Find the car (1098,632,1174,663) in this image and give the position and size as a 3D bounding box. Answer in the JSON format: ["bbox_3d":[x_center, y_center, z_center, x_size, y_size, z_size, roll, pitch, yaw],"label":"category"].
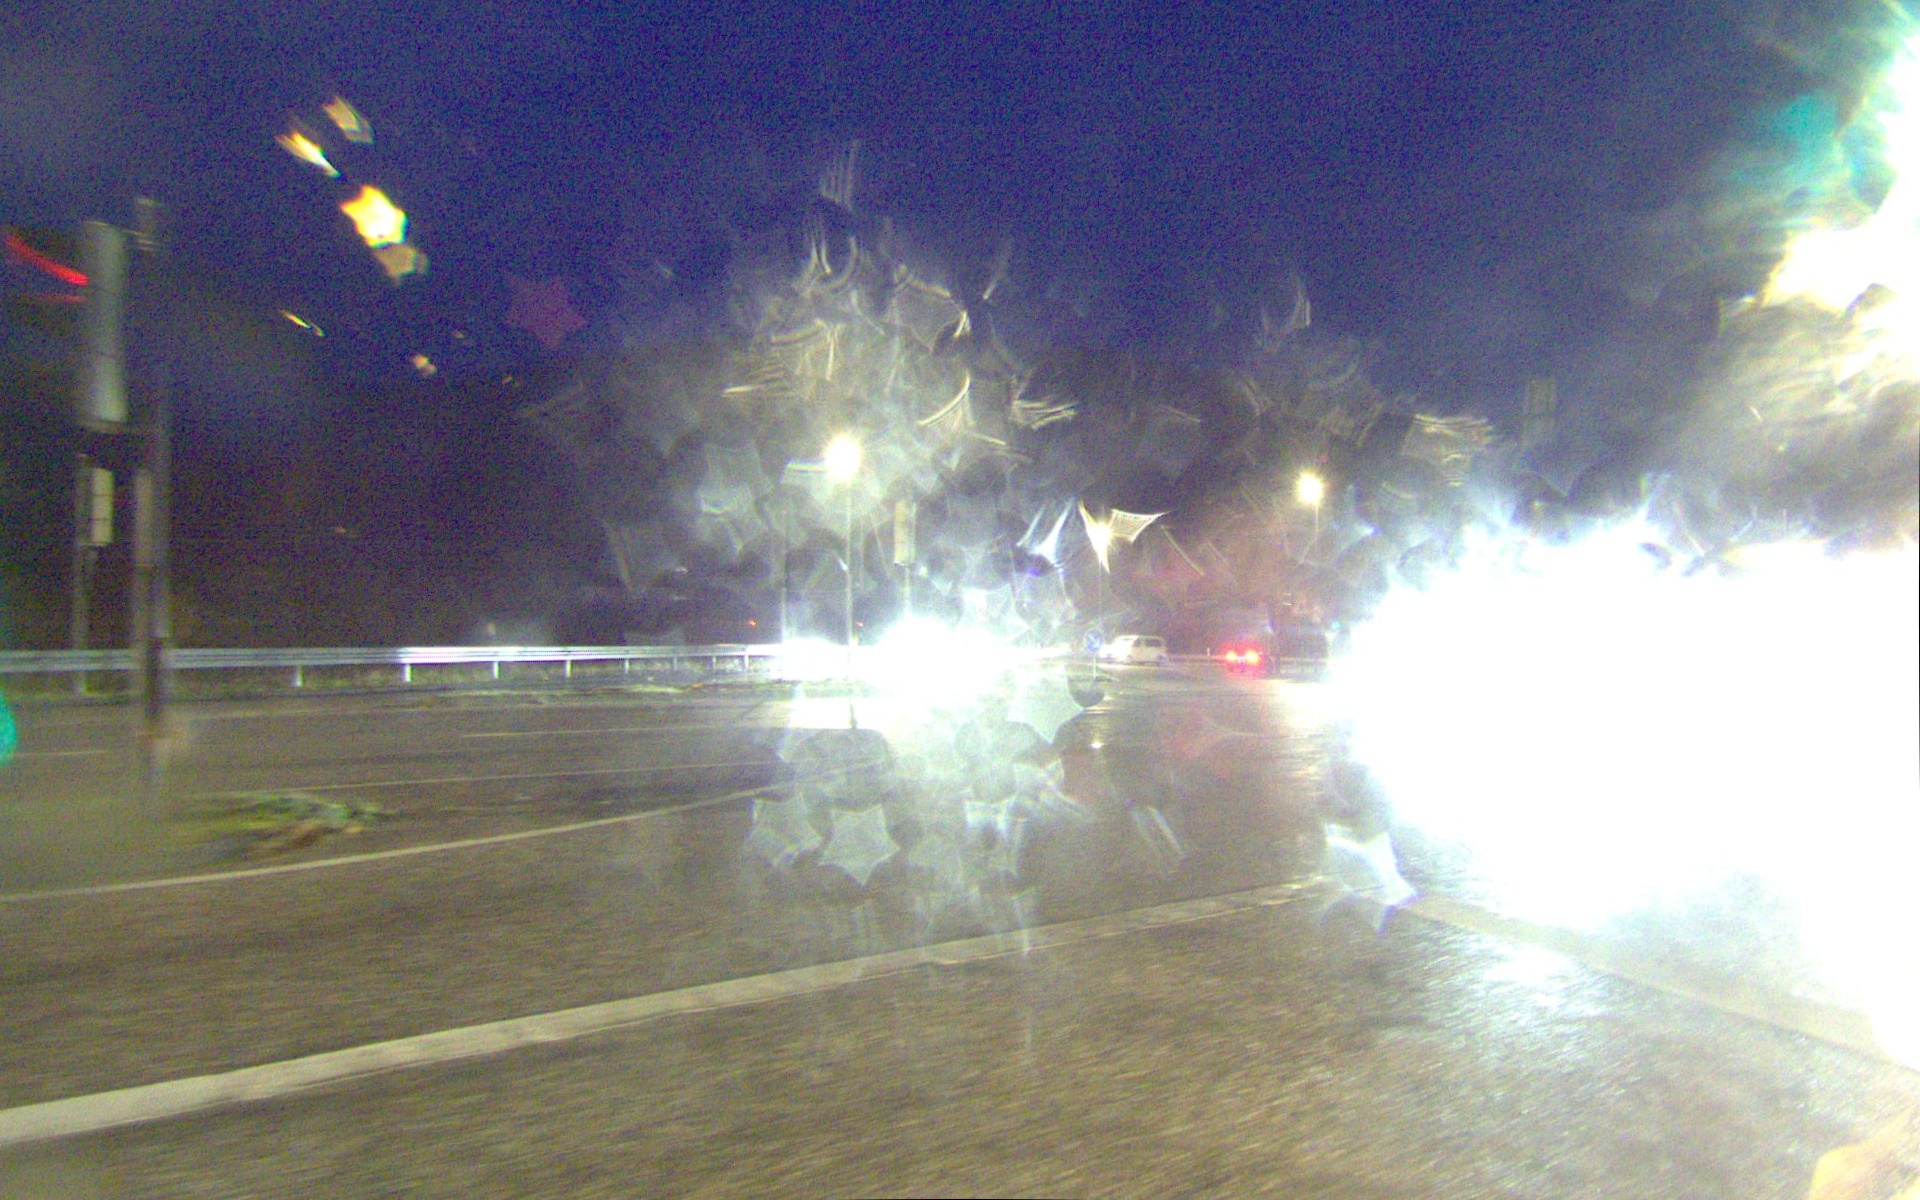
[{"bbox_3d":[11.989,3.241,68.409,4.864,1.965,1.985,3,-2,-28],"label":"car"}]

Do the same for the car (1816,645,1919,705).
[{"bbox_3d":[29.448,2.391,32.191,3.957,1.743,1.982,3,-2,-33],"label":"car"}]

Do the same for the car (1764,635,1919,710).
[{"bbox_3d":[21.231,1.686,23.771,4.651,1.592,1.693,2,-1,-27],"label":"car"}]

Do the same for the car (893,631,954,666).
[{"bbox_3d":[-1.628,2.223,46.633,2.137,1.468,4.140,2,-2,8],"label":"car"}]

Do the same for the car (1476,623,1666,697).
[{"bbox_3d":[14.640,1.423,23.995,4.856,1.592,1.784,2,-1,-30],"label":"car"}]

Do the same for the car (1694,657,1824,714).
[{"bbox_3d":[22.971,2.455,28.844,3.684,1.473,1.660,3,-2,-29],"label":"car"}]

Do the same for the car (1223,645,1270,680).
[{"bbox_3d":[16.318,3.505,57.065,1.691,1.856,3.994,0,-2,29],"label":"car"}]
